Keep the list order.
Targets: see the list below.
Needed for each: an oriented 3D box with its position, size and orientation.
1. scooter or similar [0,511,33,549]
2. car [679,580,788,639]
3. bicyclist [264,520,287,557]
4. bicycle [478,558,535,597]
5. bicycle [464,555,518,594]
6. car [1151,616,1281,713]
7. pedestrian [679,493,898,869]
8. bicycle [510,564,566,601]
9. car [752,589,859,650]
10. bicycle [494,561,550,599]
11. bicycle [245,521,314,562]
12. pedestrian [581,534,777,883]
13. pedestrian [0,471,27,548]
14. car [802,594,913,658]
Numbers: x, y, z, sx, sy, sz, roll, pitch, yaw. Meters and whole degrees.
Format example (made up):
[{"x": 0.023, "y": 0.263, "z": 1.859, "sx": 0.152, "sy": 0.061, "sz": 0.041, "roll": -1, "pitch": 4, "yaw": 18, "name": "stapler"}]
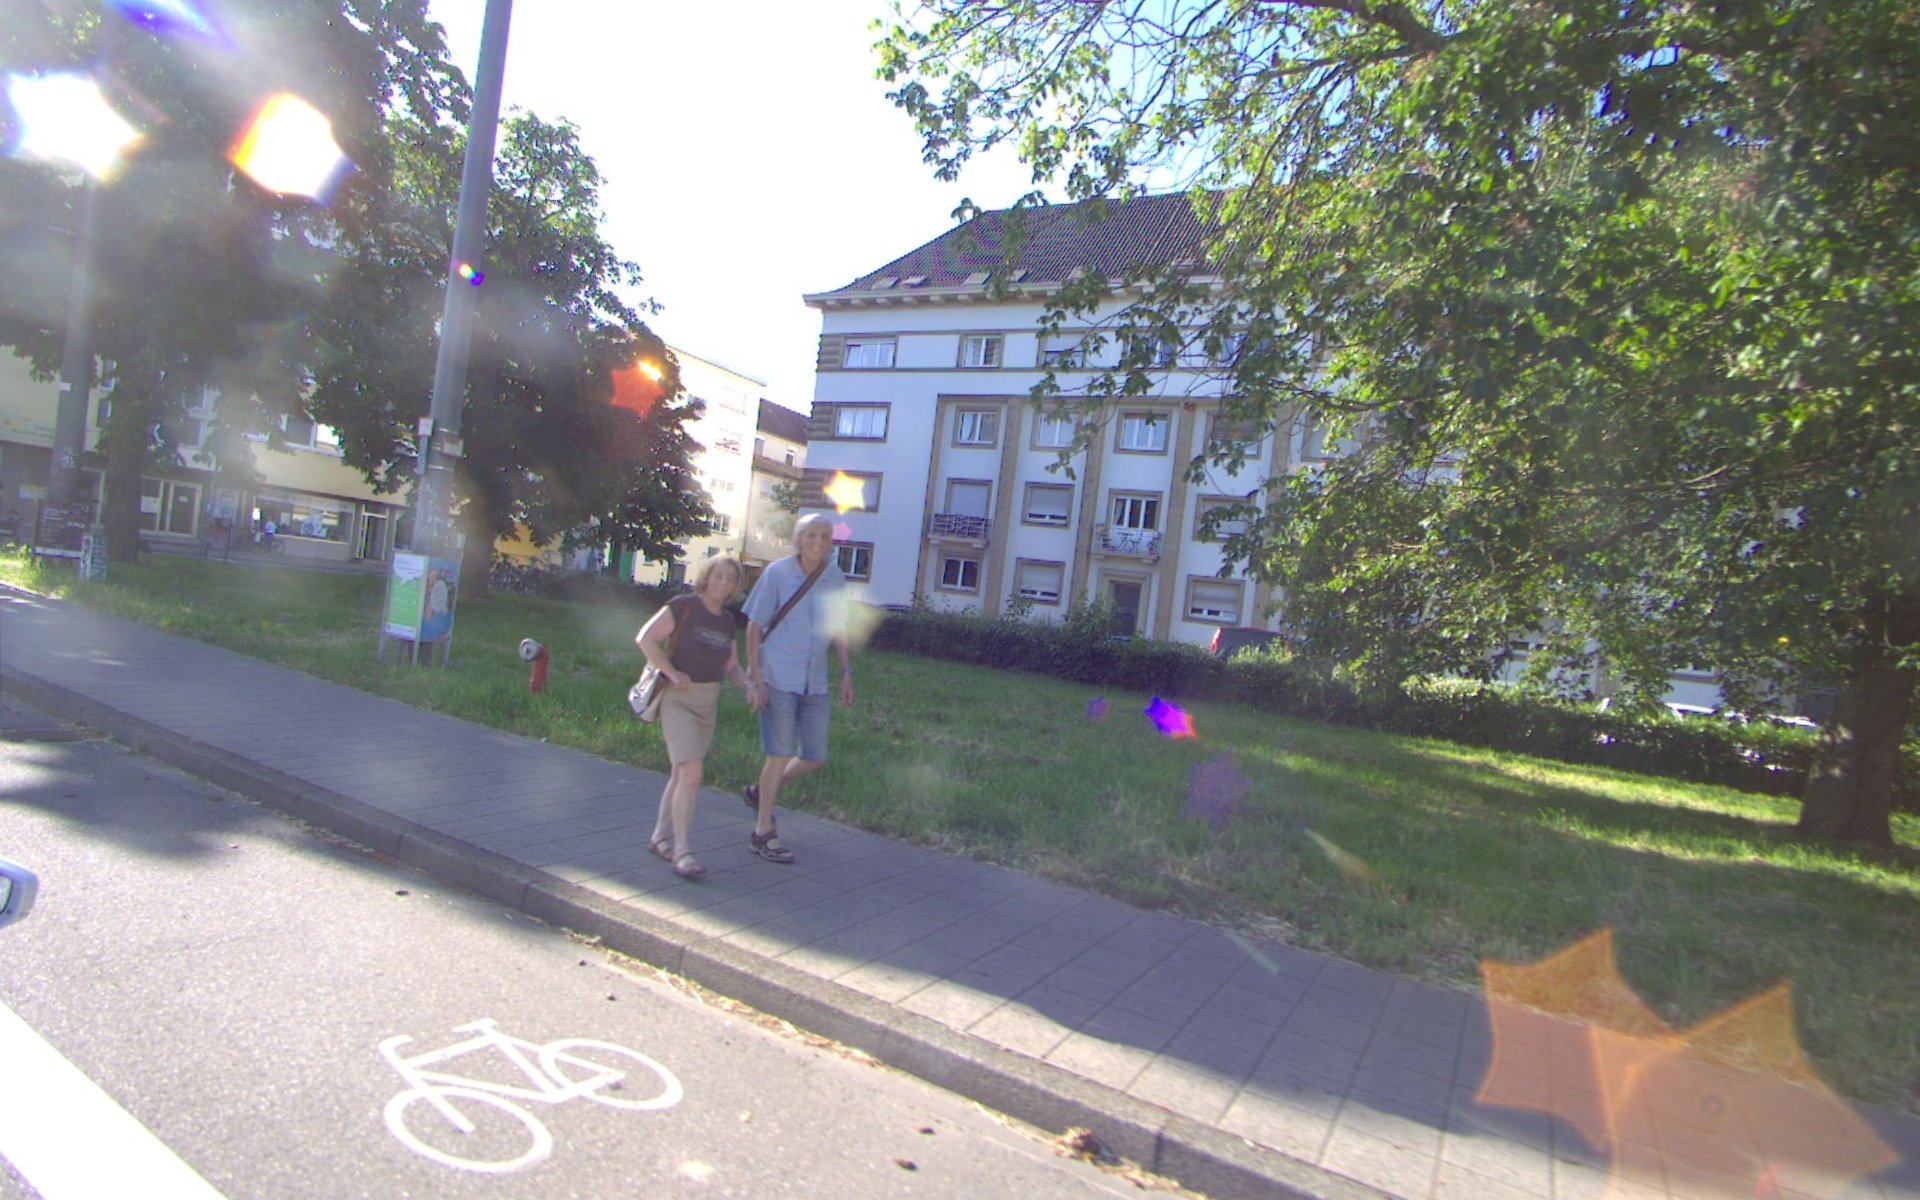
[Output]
[{"x": -21.713, "y": -1.617, "z": 22.941, "sx": 0.670, "sy": 0.745, "sz": 0.599, "roll": 7, "pitch": -3, "yaw": 30, "name": "scooter or similar"}, {"x": -7.275, "y": 0.348, "z": 32.599, "sx": 1.549, "sy": 1.547, "sz": 3.254, "roll": 7, "pitch": -1, "yaw": 29, "name": "car"}, {"x": -31.000, "y": -2.776, "z": 45.552, "sx": 0.456, "sy": 1.584, "sz": 0.528, "roll": 7, "pitch": -2, "yaw": 29, "name": "bicyclist"}, {"x": -15.173, "y": -0.748, "z": 33.638, "sx": 1.973, "sy": 1.046, "sz": 0.598, "roll": 7, "pitch": -2, "yaw": 31, "name": "bicycle"}, {"x": -15.419, "y": -0.832, "z": 33.034, "sx": 1.765, "sy": 1.046, "sz": 0.598, "roll": 7, "pitch": -2, "yaw": 31, "name": "bicycle"}, {"x": 6.223, "y": 1.610, "z": 24.148, "sx": 1.739, "sy": 1.813, "sz": 3.997, "roll": 7, "pitch": -3, "yaw": 32, "name": "car"}, {"x": -0.913, "y": 0.398, "z": 5.374, "sx": 0.683, "sy": 1.814, "sz": 0.702, "roll": 9, "pitch": 4, "yaw": 36, "name": "pedestrian"}, {"x": -14.597, "y": -0.611, "z": 34.788, "sx": 1.973, "sy": 1.046, "sz": 0.598, "roll": 7, "pitch": -2, "yaw": 31, "name": "bicycle"}, {"x": -4.815, "y": 0.648, "z": 31.753, "sx": 1.549, "sy": 1.547, "sz": 3.254, "roll": 7, "pitch": -1, "yaw": 29, "name": "car"}, {"x": -14.898, "y": -0.678, "z": 34.233, "sx": 1.957, "sy": 1.046, "sz": 0.598, "roll": 7, "pitch": -2, "yaw": 31, "name": "bicycle"}, {"x": -31.244, "y": -2.681, "z": 46.225, "sx": 0.598, "sy": 1.414, "sz": 2.478, "roll": 7, "pitch": -3, "yaw": 30, "name": "bicycle"}, {"x": -1.374, "y": 0.496, "z": 4.921, "sx": 0.618, "sy": 1.548, "sz": 0.529, "roll": 7, "pitch": 2, "yaw": 37, "name": "pedestrian"}, {"x": -22.207, "y": -2.119, "z": 23.253, "sx": 0.525, "sy": 1.700, "sz": 0.729, "roll": 7, "pitch": -2, "yaw": 43, "name": "pedestrian"}, {"x": -2.989, "y": 0.800, "z": 29.787, "sx": 1.549, "sy": 1.547, "sz": 3.254, "roll": 7, "pitch": -1, "yaw": 29, "name": "car"}]
